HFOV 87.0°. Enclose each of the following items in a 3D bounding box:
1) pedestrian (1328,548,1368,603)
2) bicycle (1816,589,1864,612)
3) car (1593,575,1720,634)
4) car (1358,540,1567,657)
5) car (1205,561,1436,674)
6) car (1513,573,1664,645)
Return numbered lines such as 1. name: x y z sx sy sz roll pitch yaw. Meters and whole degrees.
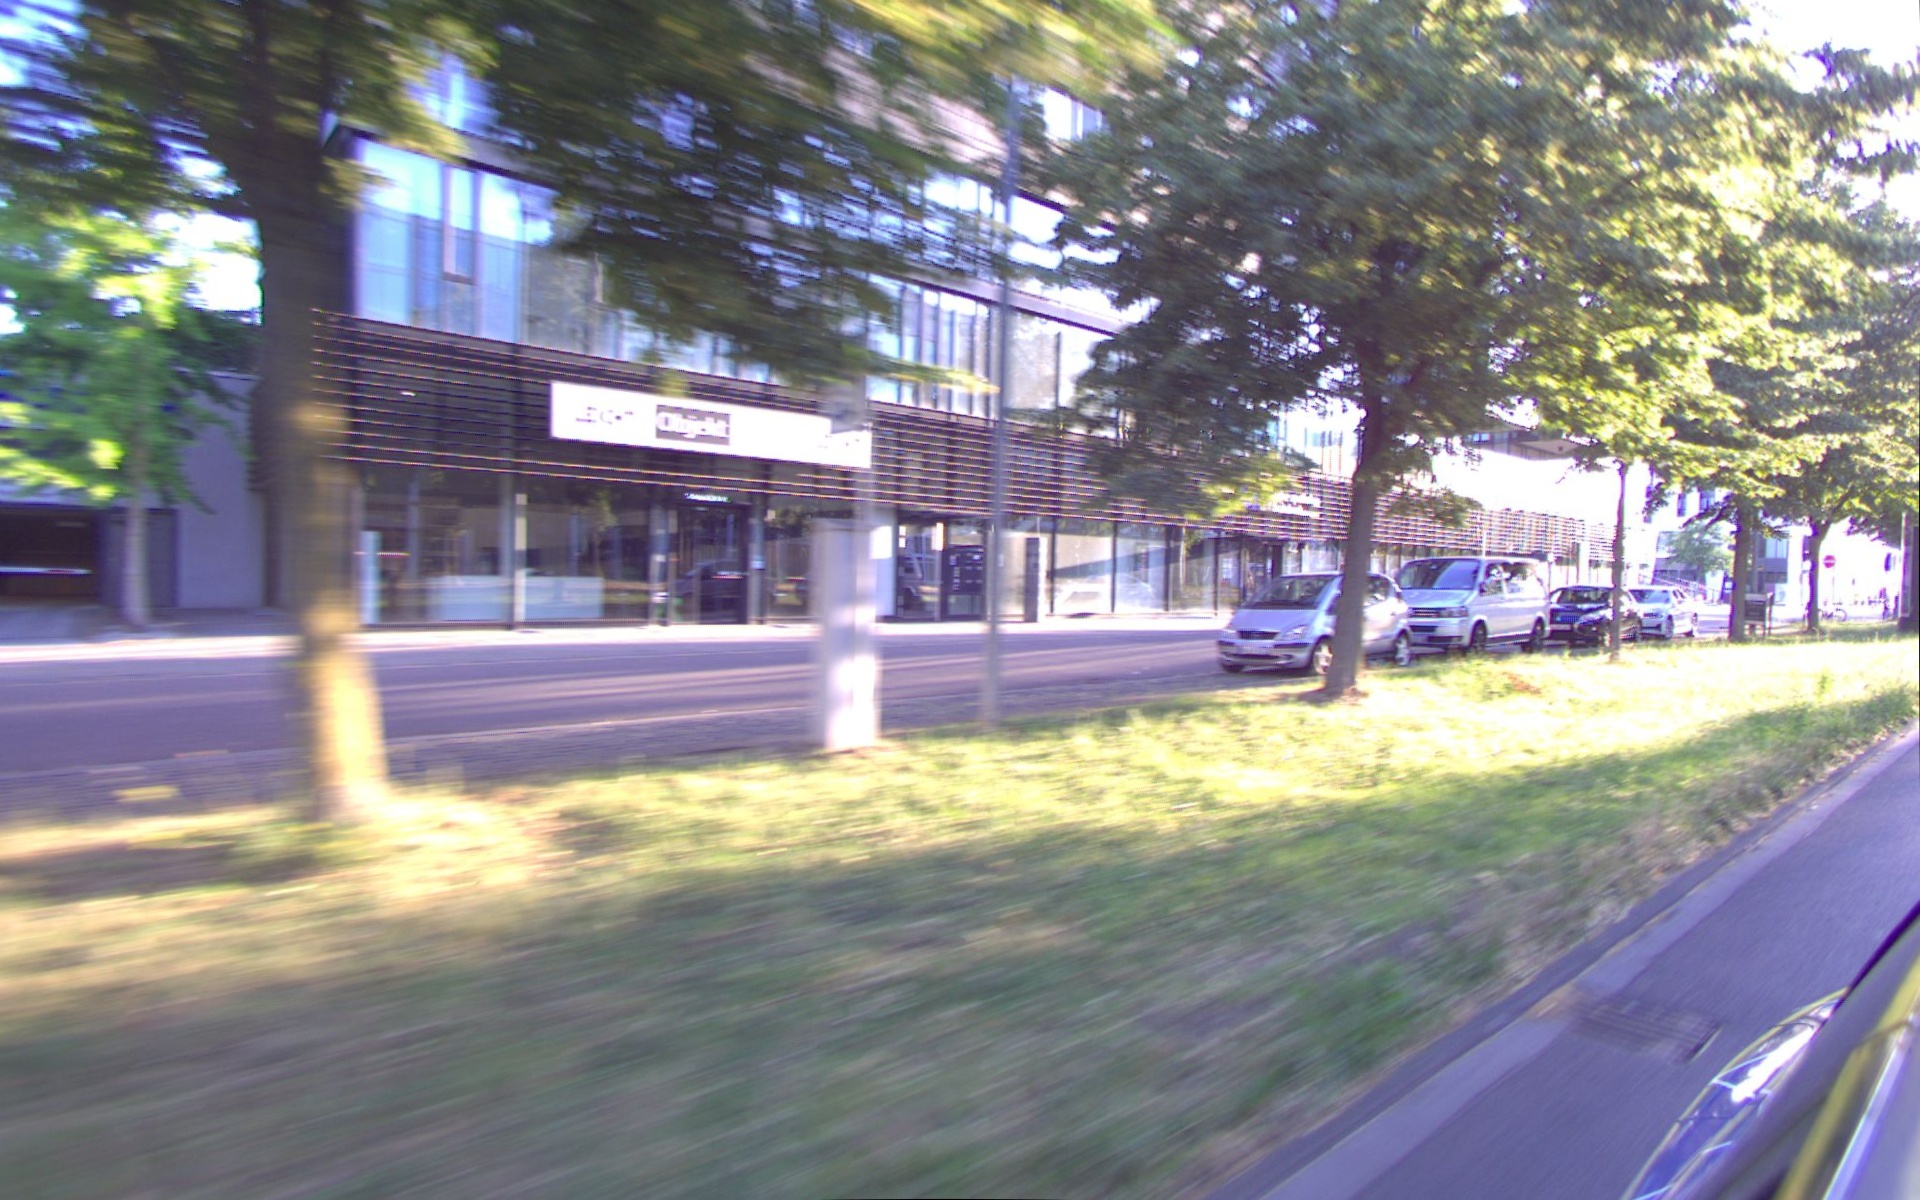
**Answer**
1. pedestrian: 13.108 -0.838 34.207 0.897 1.819 0.898 0 2 -42
2. bicycle: 38.535 0.025 44.340 0.355 0.921 1.726 1 2 -8
3. car: 19.667 0.063 28.489 4.956 1.515 1.919 -1 2 -43
4. car: 9.890 -0.082 19.757 4.847 2.014 1.989 -1 2 -42
5. car: 5.897 0.197 16.355 3.992 1.590 1.841 -1 2 -42
6. car: 15.188 0.136 24.364 4.215 1.514 1.863 -1 4 -41
